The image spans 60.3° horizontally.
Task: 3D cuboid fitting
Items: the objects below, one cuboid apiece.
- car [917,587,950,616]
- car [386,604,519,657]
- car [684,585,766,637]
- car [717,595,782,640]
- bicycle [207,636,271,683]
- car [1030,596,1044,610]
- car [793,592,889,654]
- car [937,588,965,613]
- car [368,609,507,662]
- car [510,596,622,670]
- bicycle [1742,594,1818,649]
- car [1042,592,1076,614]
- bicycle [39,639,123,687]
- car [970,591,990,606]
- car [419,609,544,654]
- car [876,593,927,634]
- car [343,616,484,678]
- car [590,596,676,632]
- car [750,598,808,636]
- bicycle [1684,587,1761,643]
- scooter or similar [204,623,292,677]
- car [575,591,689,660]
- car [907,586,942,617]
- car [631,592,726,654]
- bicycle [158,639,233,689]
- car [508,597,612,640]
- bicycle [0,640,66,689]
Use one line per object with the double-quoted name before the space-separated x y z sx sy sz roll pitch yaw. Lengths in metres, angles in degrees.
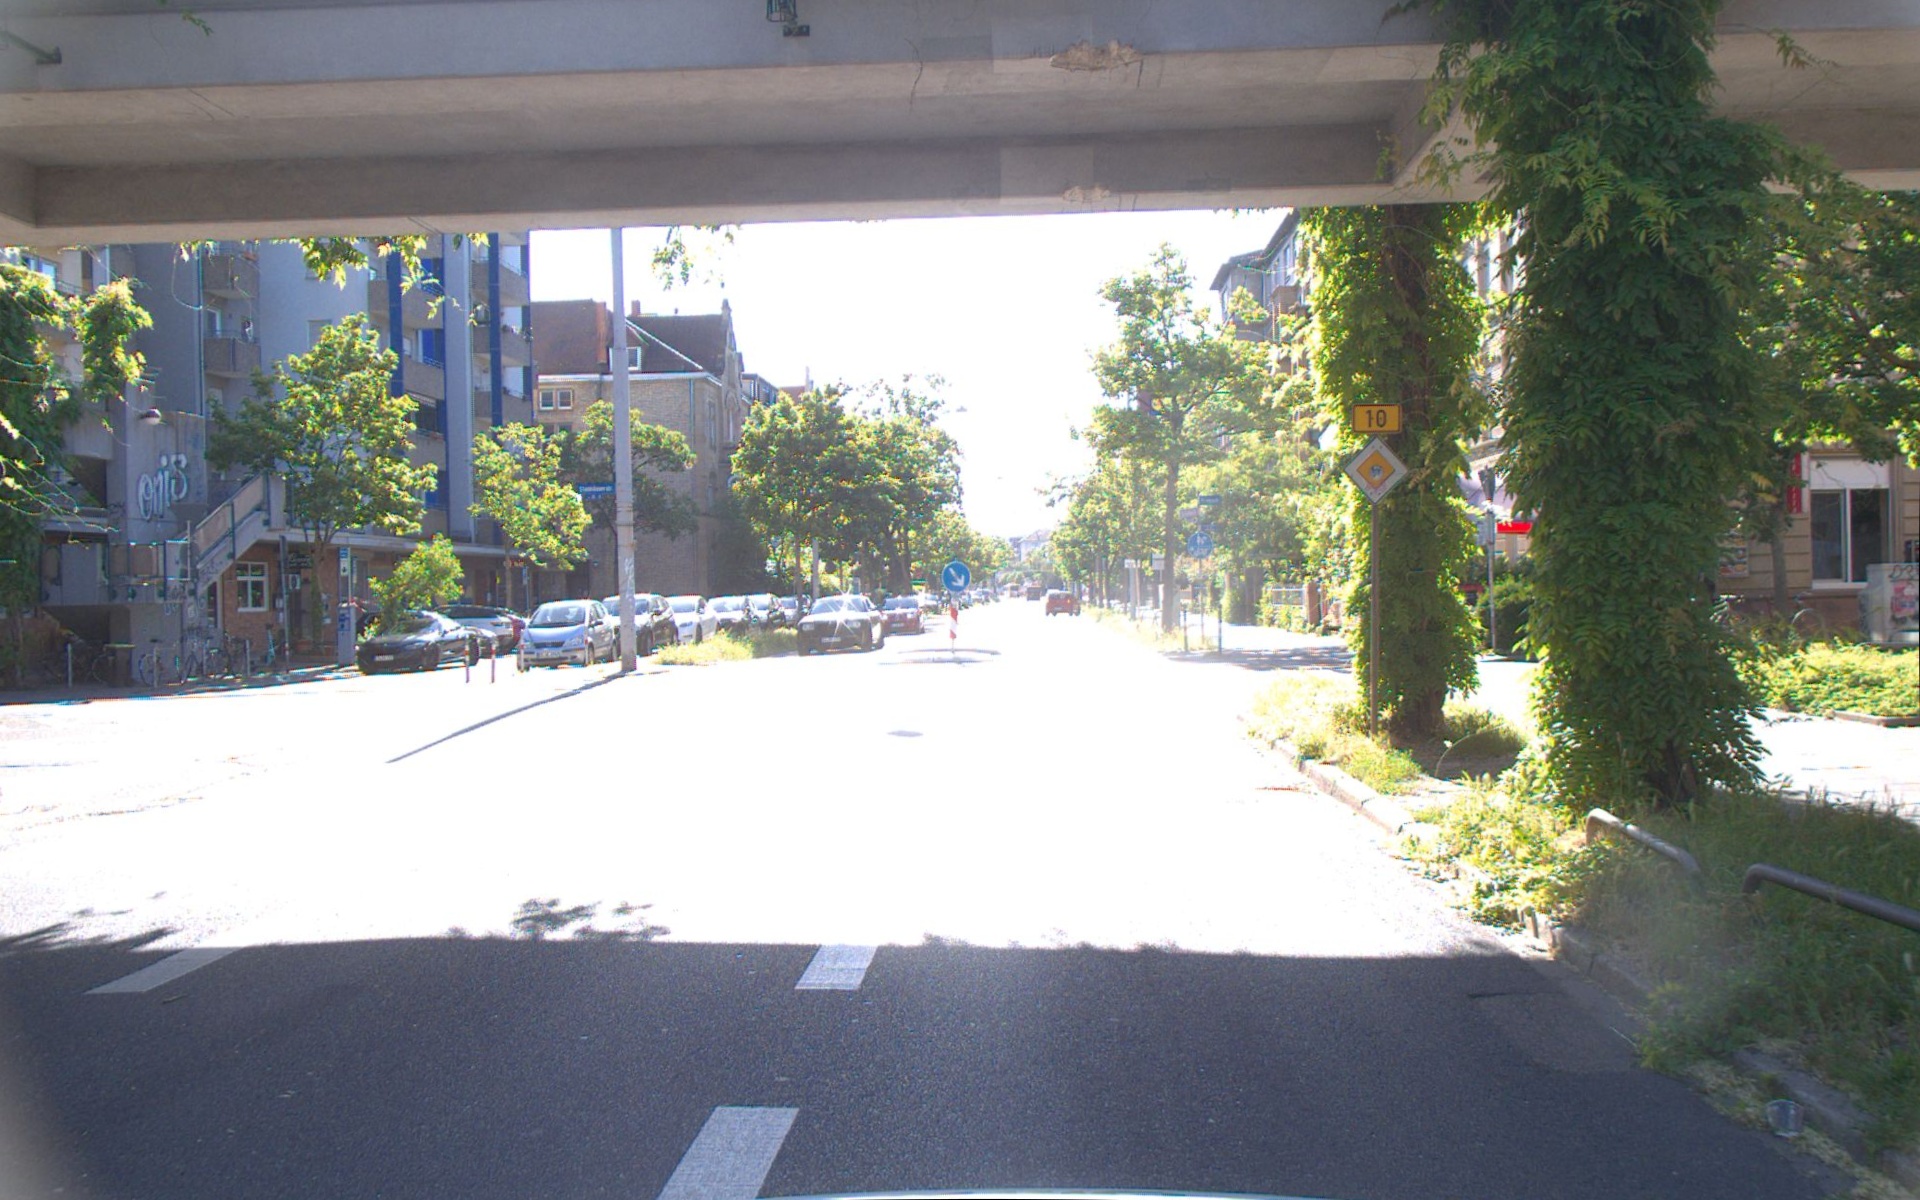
"car" -1.946 0.072 123.997 1.951 2.049 4.208 -2 0 5
"car" -17.257 1.021 56.333 3.906 1.635 1.841 -2 0 -1
"car" -7.989 0.334 56.636 1.824 1.615 4.003 -3 0 5
"car" -7.952 0.629 62.710 1.715 1.580 4.002 -2 0 3
"bicycle" -17.331 1.417 39.786 0.405 1.018 1.804 1 1 12
"car" 10.789 0.373 231.860 1.721 1.815 4.002 -2 0 4
"car" -3.061 0.560 43.430 1.827 1.484 4.595 -2 0 4
"car" -0.776 0.021 145.102 2.017 2.049 4.632 -2 0 5
"car" -16.857 1.131 53.479 3.906 1.578 1.770 -2 0 -1
"car" -9.154 0.733 38.653 1.684 1.545 3.532 -3 0 0
"bicycle" 15.621 0.404 31.513 1.284 0.991 0.392 -2 0 -8
"car" 6.116 0.187 101.345 1.759 1.244 4.003 -1 0 8
"bicycle" -19.605 1.409 36.912 1.588 1.018 0.413 0 1 -20
"car" 2.337 -0.183 193.811 1.951 1.725 4.003 -2 0 5
"car" -17.038 1.116 59.023 3.906 1.449 1.687 -2 0 -1
"car" -2.195 0.473 62.915 1.617 1.453 3.508 -2 0 3
"car" -14.444 1.204 43.976 1.851 1.422 4.532 -2 0 5
"car" -16.200 0.666 81.998 3.906 1.658 1.687 -2 0 -1
"car" -7.415 0.670 68.139 1.718 1.422 4.002 -2 0 3
"bicycle" 14.272 0.277 30.948 1.284 0.991 0.392 -2 0 -8
"scooter or similar" -18.269 1.274 42.462 1.927 1.299 0.631 -2 1 -2
"car" -8.667 0.640 44.108 1.829 1.656 4.507 -2 0 4
"car" -2.511 0.093 118.094 1.951 2.049 4.208 -2 0 5
"car" -8.507 0.663 50.393 1.849 1.690 4.532 -4 0 3
"bicycle" -17.480 1.457 37.853 0.405 1.049 1.803 1 1 19
"car" -16.767 0.784 69.418 3.906 1.658 1.687 -2 0 -1
"bicycle" -20.513 1.414 36.029 1.761 1.018 0.484 -1 1 -5
